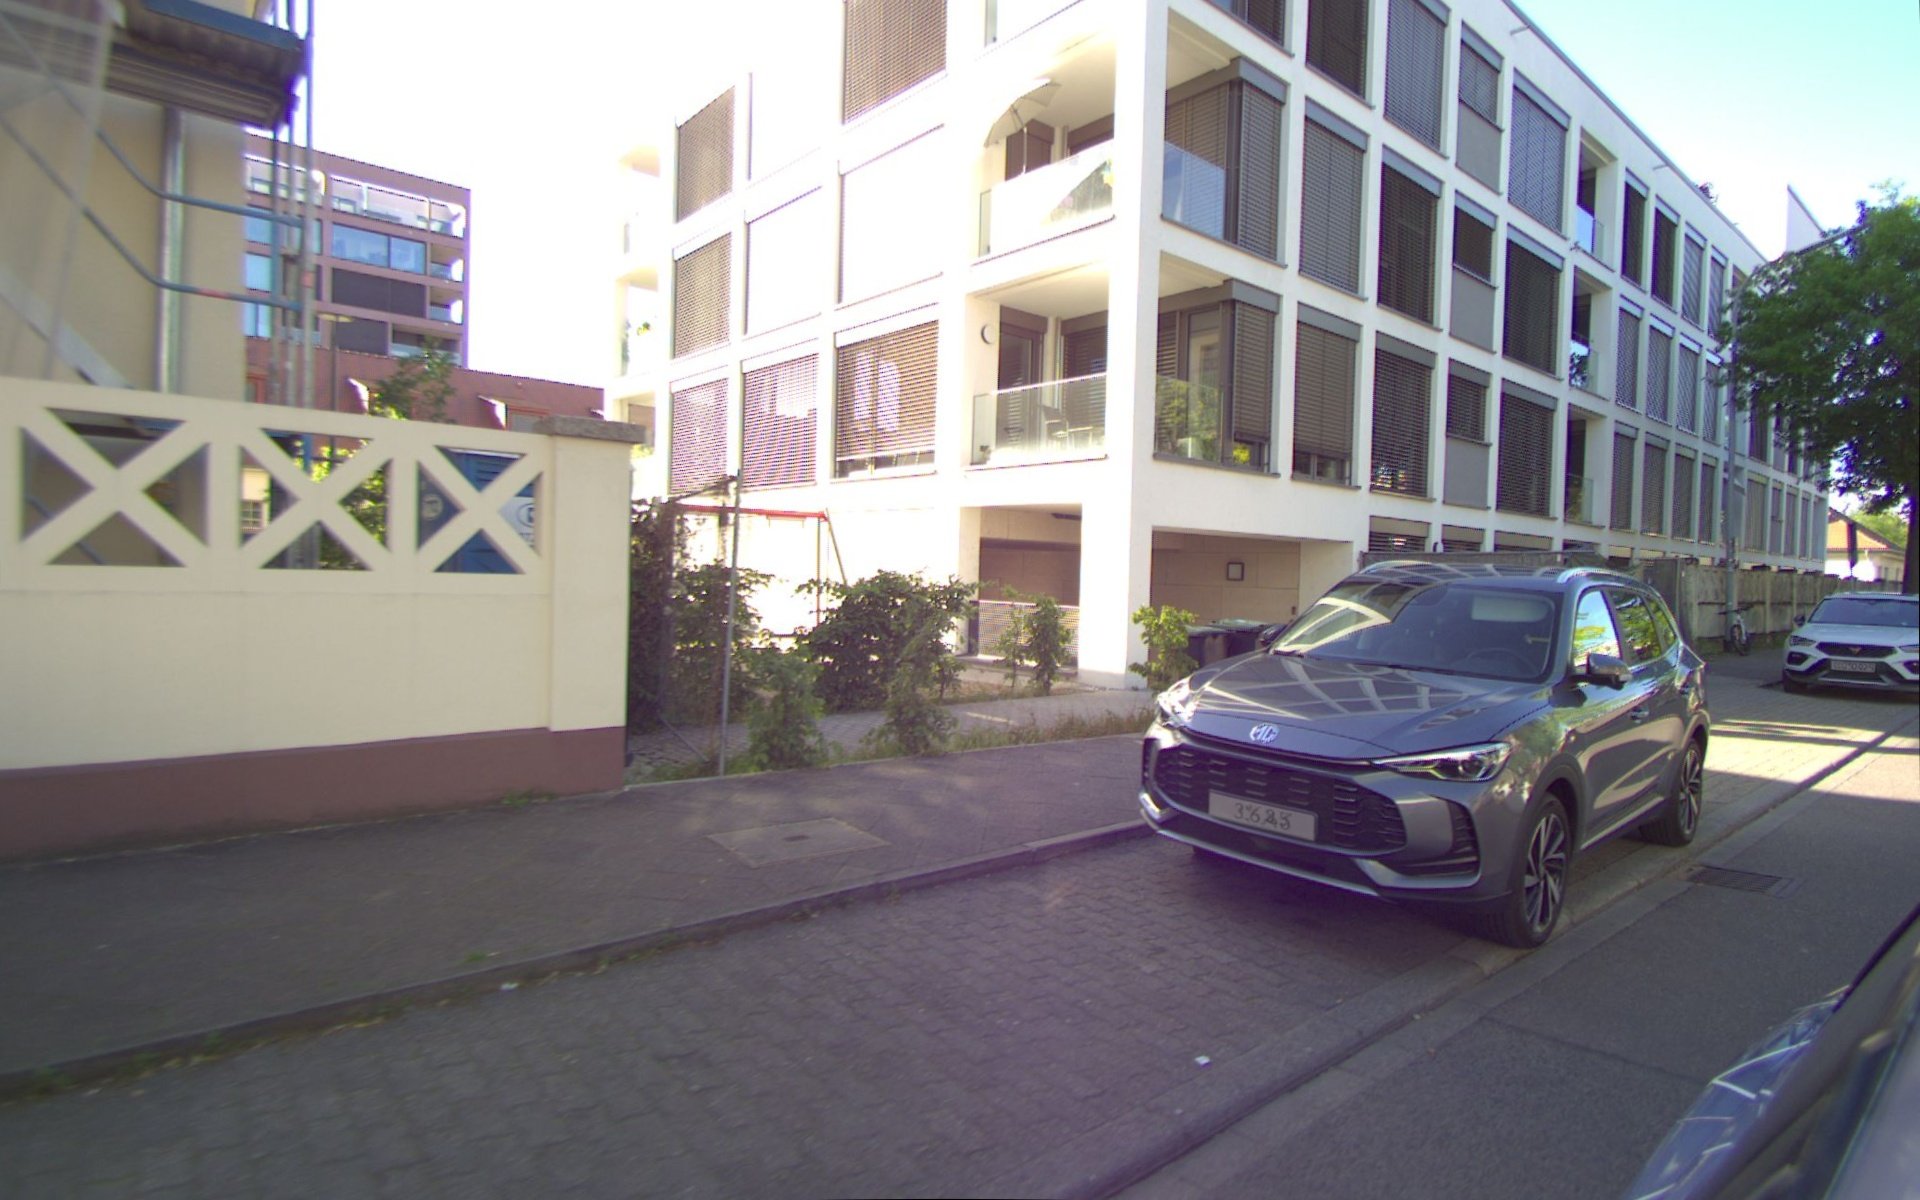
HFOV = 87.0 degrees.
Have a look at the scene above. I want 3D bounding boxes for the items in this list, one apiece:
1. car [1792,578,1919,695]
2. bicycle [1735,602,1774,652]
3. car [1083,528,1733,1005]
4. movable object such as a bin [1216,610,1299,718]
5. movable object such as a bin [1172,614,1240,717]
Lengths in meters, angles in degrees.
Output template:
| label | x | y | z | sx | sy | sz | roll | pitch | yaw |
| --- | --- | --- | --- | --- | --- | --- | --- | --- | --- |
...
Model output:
| label | x | y | z | sx | sy | sz | roll | pitch | yaw |
| --- | --- | --- | --- | --- | --- | --- | --- | --- | --- |
| car | 14.669 | 0.503 | 15.970 | 4.056 | 1.636 | 1.795 | 0 | 1 | -42 |
| bicycle | 17.489 | 0.574 | 22.266 | 1.799 | 1.054 | 0.337 | 0 | 1 | -41 |
| car | 2.725 | 0.546 | 5.587 | 4.229 | 1.658 | 1.715 | 0 | 2 | -43 |
| movable object such as a bin | 3.025 | 0.629 | 10.290 | 0.553 | 1.040 | 0.599 | 0 | 0 | -37 |
| movable object such as a bin | 2.457 | 0.640 | 10.113 | 0.502 | 0.976 | 0.435 | 0 | 0 | -36 |
